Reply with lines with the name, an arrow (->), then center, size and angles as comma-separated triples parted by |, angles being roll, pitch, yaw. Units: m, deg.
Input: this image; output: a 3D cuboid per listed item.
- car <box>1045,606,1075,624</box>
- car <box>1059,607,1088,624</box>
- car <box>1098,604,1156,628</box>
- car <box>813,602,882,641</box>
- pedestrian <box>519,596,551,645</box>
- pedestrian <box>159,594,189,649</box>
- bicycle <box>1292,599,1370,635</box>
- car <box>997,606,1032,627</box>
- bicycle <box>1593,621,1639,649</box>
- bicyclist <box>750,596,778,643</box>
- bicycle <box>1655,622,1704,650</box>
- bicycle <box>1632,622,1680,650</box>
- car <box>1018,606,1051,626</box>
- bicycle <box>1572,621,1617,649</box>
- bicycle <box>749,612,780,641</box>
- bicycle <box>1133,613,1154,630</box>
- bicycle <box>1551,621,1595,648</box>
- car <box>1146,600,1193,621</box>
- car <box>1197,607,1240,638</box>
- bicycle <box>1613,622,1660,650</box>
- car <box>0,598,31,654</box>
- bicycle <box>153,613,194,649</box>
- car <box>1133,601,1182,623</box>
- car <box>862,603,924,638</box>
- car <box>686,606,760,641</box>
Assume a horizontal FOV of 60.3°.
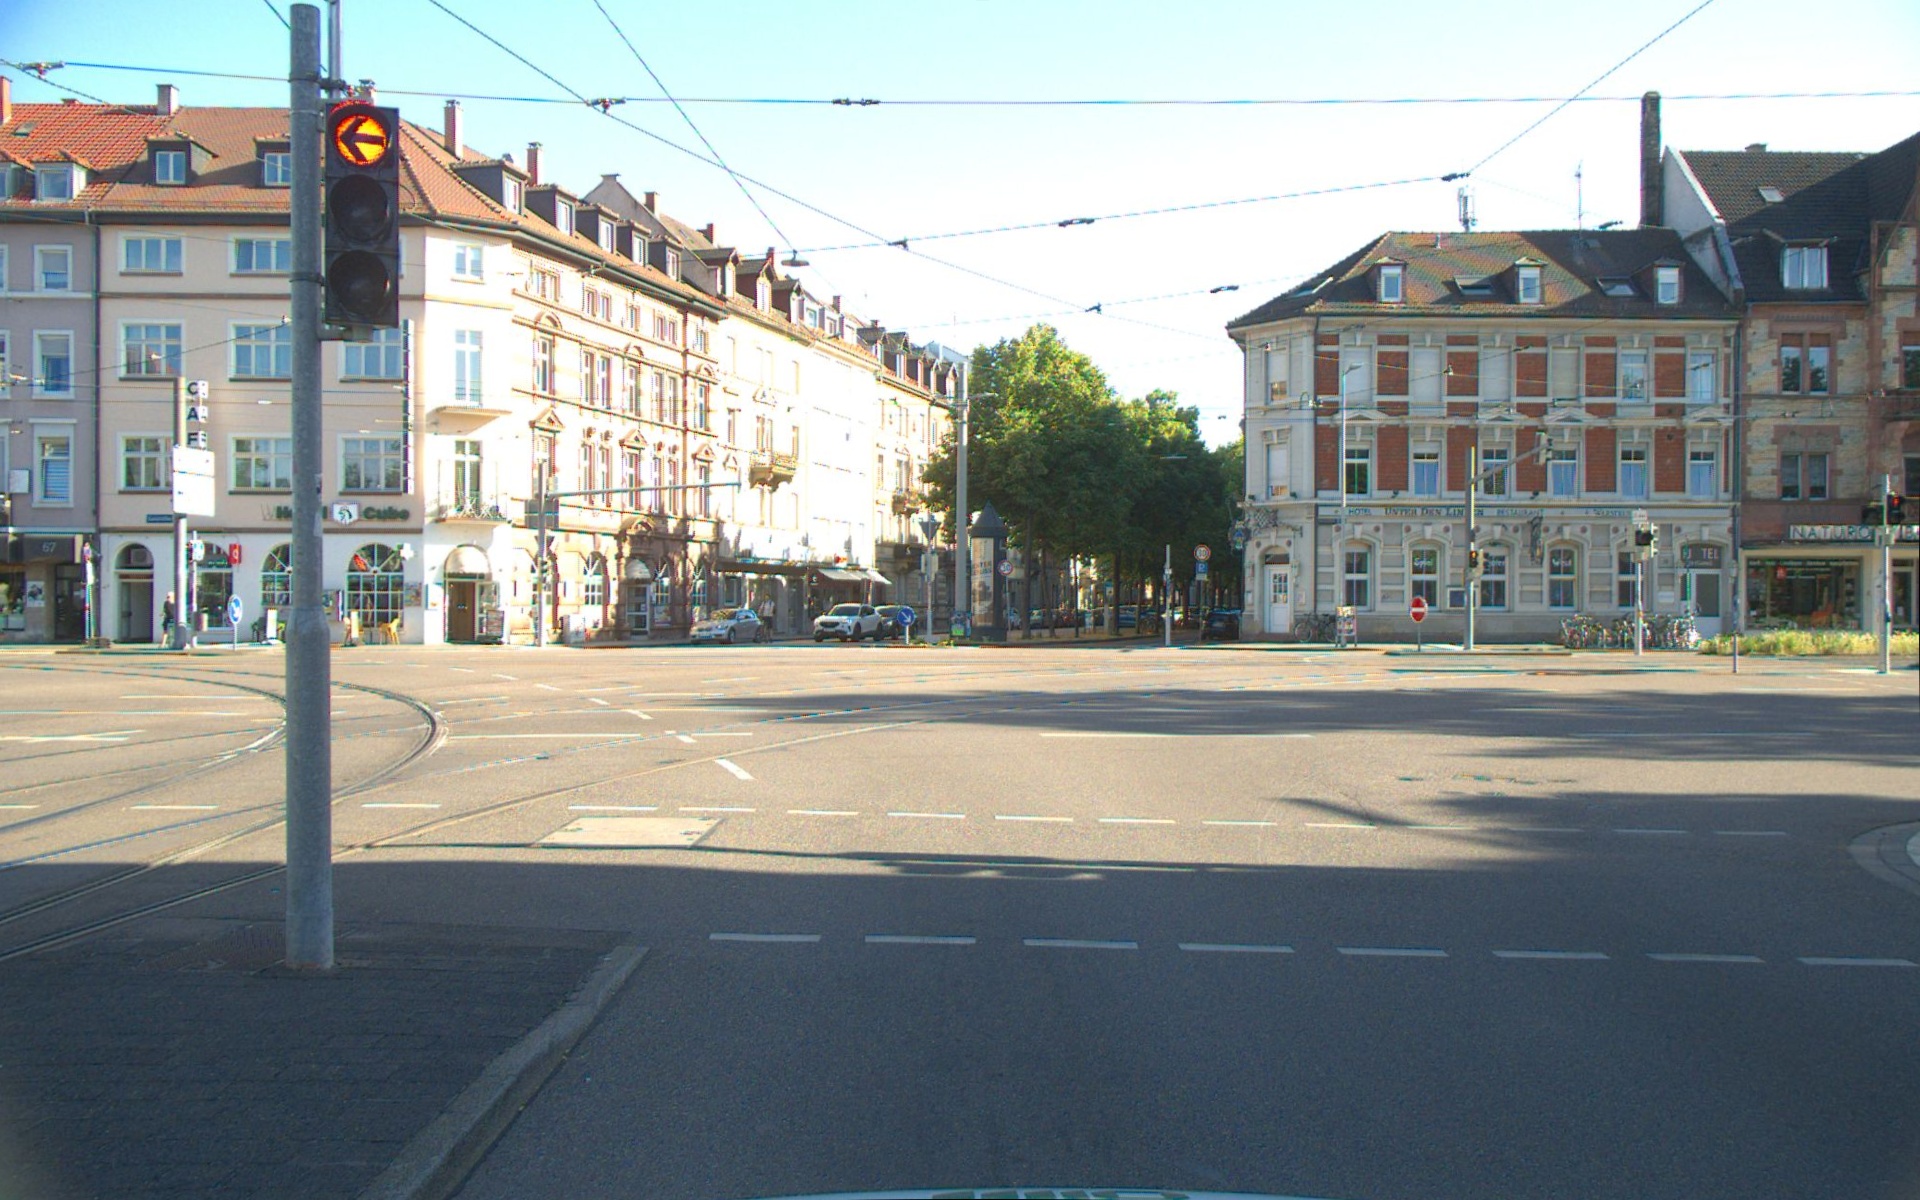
car -> 7.893, 1.208, 130.847 | 1.642, 1.378, 3.593 | 0, 0, 16
car -> 9.318, 1.244, 135.899 | 1.642, 1.378, 3.593 | 0, 0, 16
car -> 11.715, 1.110, 115.837 | 3.819, 1.677, 1.684 | 0, 0, 16
car -> -4.534, 0.840, 67.230 | 1.642, 1.509, 3.774 | 0, 0, 16
pedestrian -> -15.088, 0.721, 58.715 | 0.759, 1.699, 0.831 | 1, -1, 15
pedestrian -> -24.758, 0.681, 52.104 | 0.570, 1.699, 0.752 | 1, -1, -1
bicycle -> 12.868, 0.586, 57.461 | 2.504, 1.194, 0.818 | 1, -1, -4
car -> 3.823, 1.152, 115.518 | 1.642, 1.378, 3.593 | 0, 0, 16
bicycle -> 21.194, 1.130, 53.472 | 0.645, 0.855, 2.160 | 1, 0, 0
bicyclist -> -7.713, 0.763, 65.007 | 0.761, 1.834, 1.056 | 1, -1, 13
bicycle -> 23.281, 1.166, 53.531 | 0.645, 0.855, 2.160 | 1, 0, 0
bicycle -> 22.493, 1.152, 53.485 | 0.645, 0.855, 2.160 | 1, 0, 0
car -> 5.534, 1.177, 122.505 | 1.642, 1.378, 3.593 | 0, 0, 16
bicycle -> 20.482, 1.118, 53.458 | 0.645, 0.855, 2.160 | 1, 0, 0
bicycle -> -7.679, 1.043, 65.130 | 0.687, 1.137, 1.636 | 1, 0, 13
bicycle -> 11.053, 1.291, 99.630 | 0.625, 1.039, 1.840 | 1, 0, -14
bicycle -> 19.763, 1.105, 53.371 | 0.645, 0.855, 2.160 | 1, 0, 0
car -> 16.942, 0.878, 133.750 | 3.503, 1.677, 1.684 | 0, 0, 16
car -> 12.960, 1.102, 82.752 | 1.642, 1.509, 3.950 | 0, 0, 16
bicycle -> 21.865, 1.141, 53.505 | 0.645, 0.855, 2.160 | 1, 0, 0
car -> -32.150, 0.787, 52.260 | 4.276, 1.741, 2.306 | 1, 0, 1
bicycle -> -24.763, 0.979, 52.108 | 0.561, 1.096, 1.497 | 1, 0, -1
car -> 15.320, 0.953, 128.250 | 3.503, 1.677, 1.684 | 0, 0, 16
car -> -2.947, 0.883, 73.555 | 1.642, 1.509, 3.950 | 0, 0, 16
car -> -9.539, 0.930, 66.748 | 1.642, 1.378, 3.593 | 0, 0, 16
